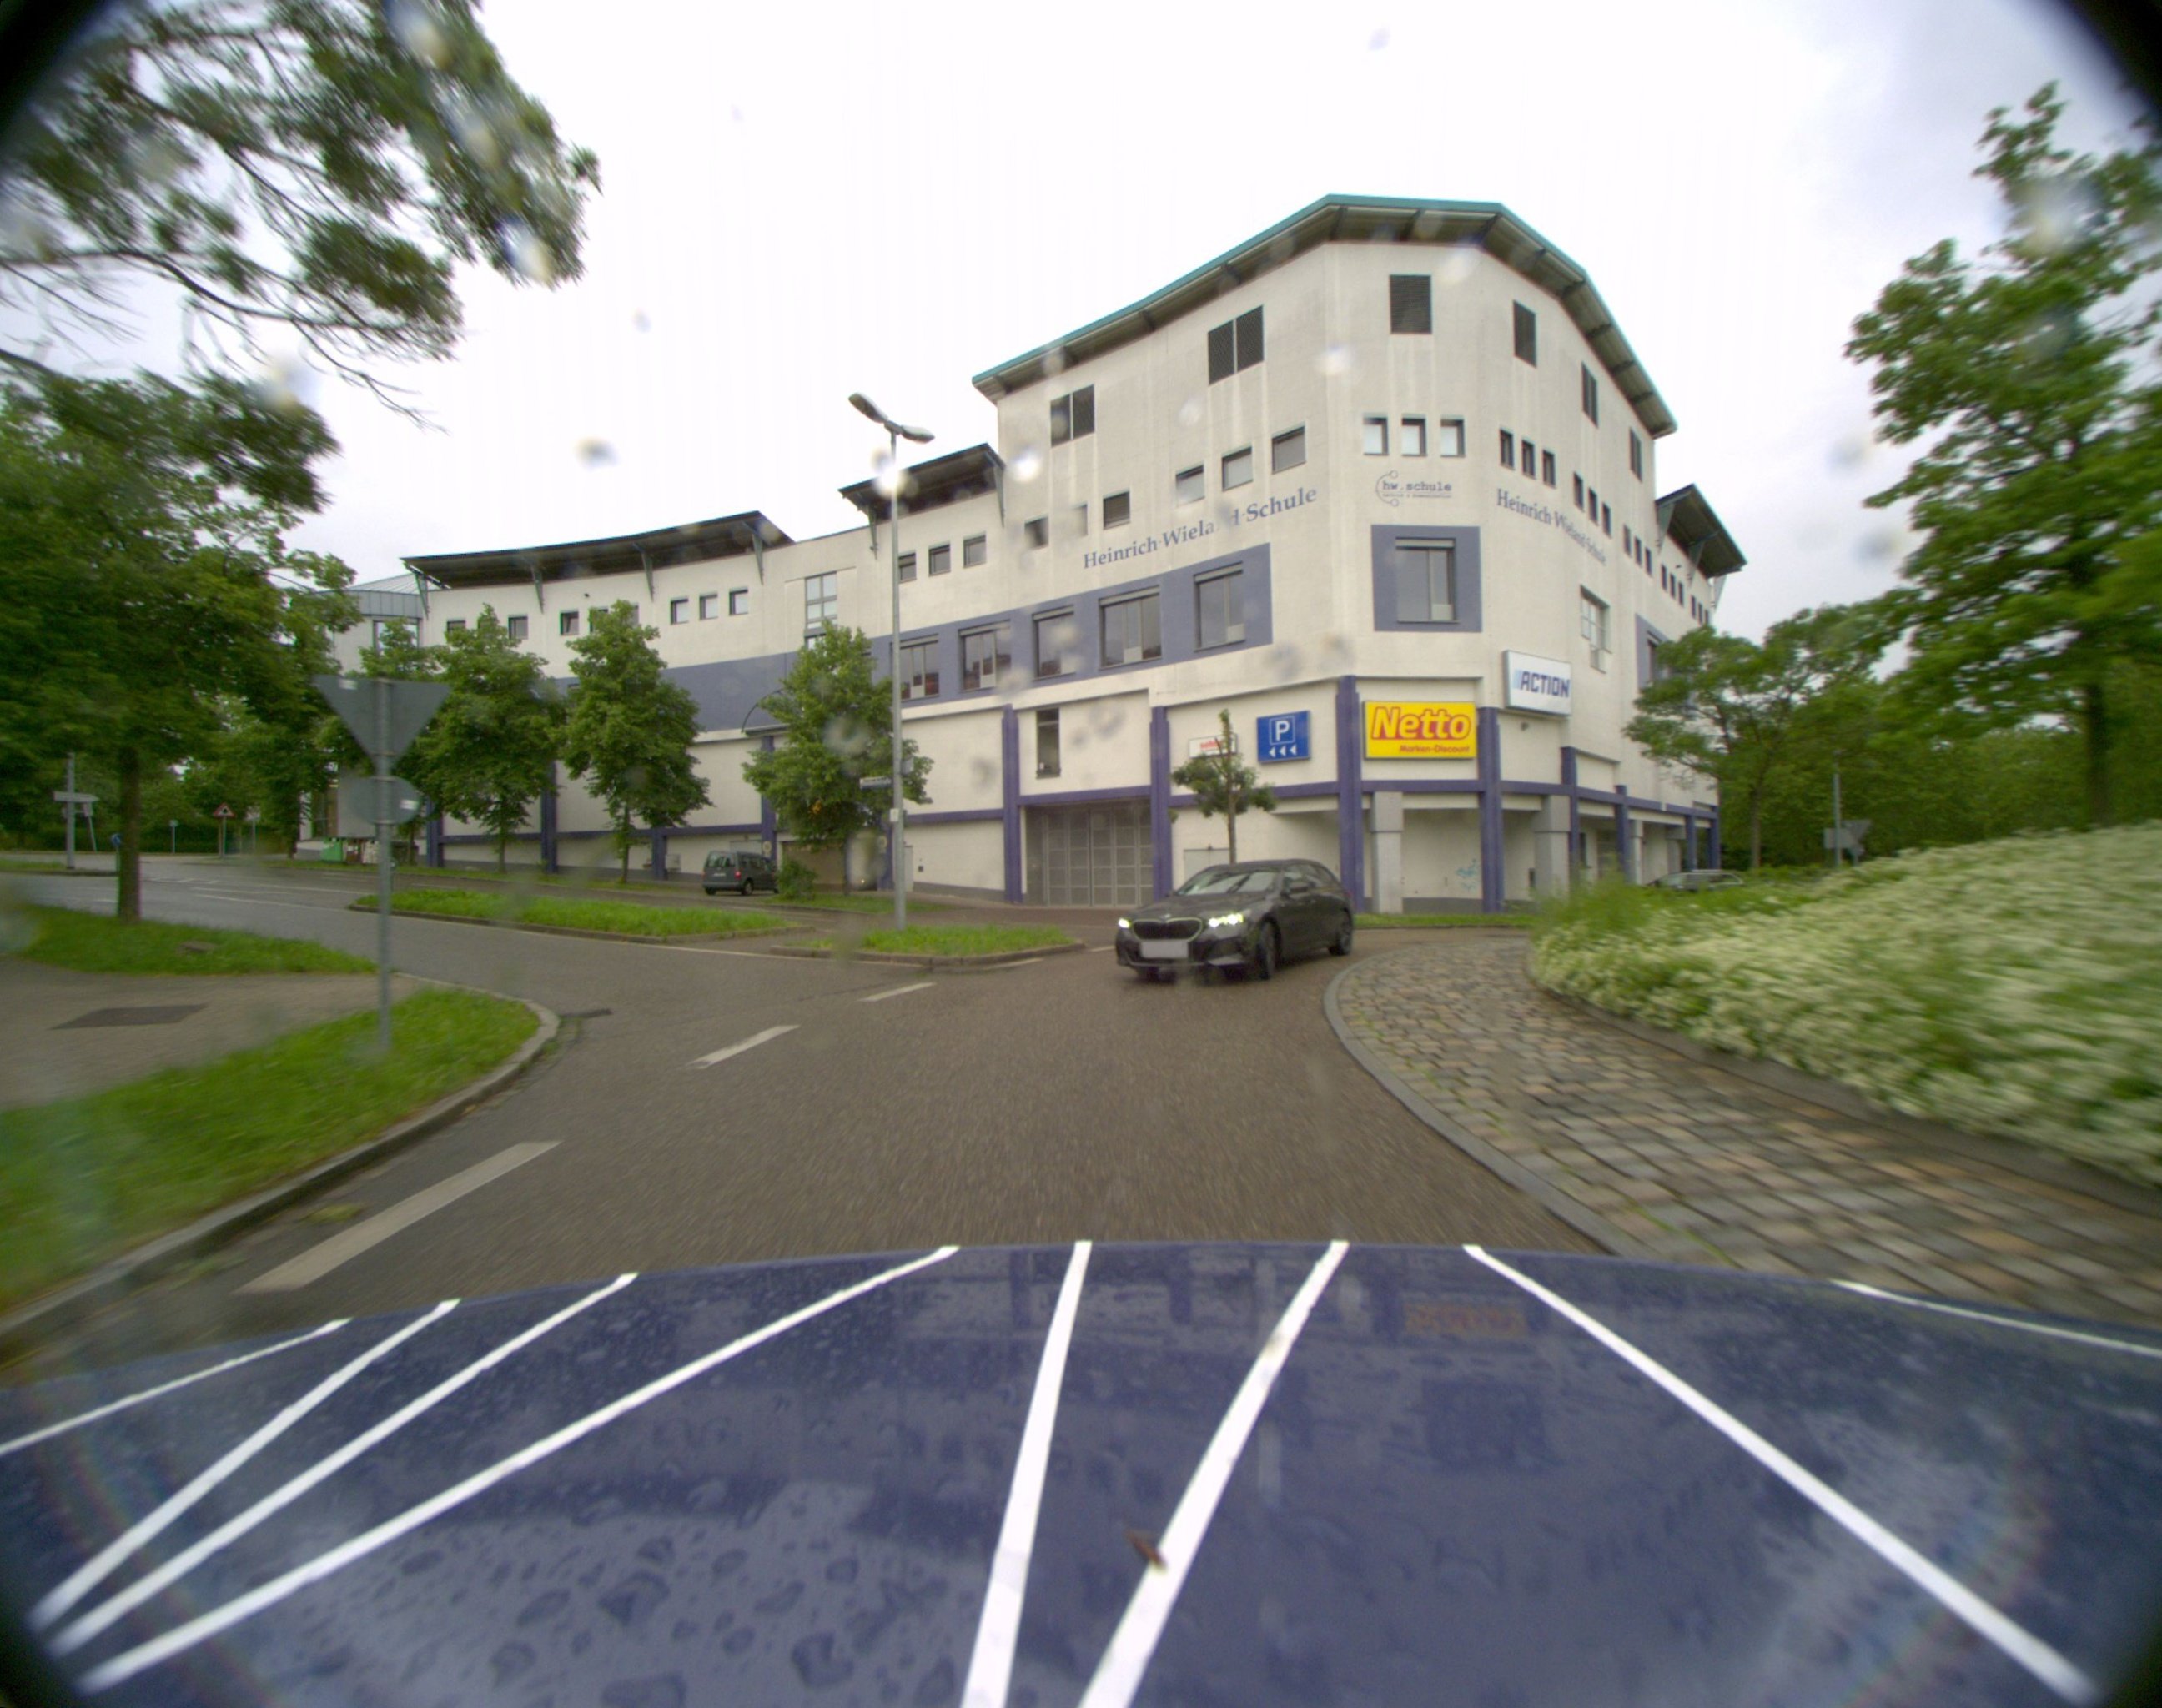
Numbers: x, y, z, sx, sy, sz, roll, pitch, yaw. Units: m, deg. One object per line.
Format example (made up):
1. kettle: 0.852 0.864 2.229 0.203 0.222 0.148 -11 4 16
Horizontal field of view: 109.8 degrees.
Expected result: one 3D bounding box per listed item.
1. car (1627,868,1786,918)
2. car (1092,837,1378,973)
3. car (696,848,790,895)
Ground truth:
1. car: 23.543 1.459 28.731 1.833 1.748 4.380 4 -4 -42
2. car: 2.425 0.639 10.772 1.840 1.485 4.913 -3 -3 40
3. car: -14.061 0.719 31.845 1.922 1.790 3.792 2 -1 6
